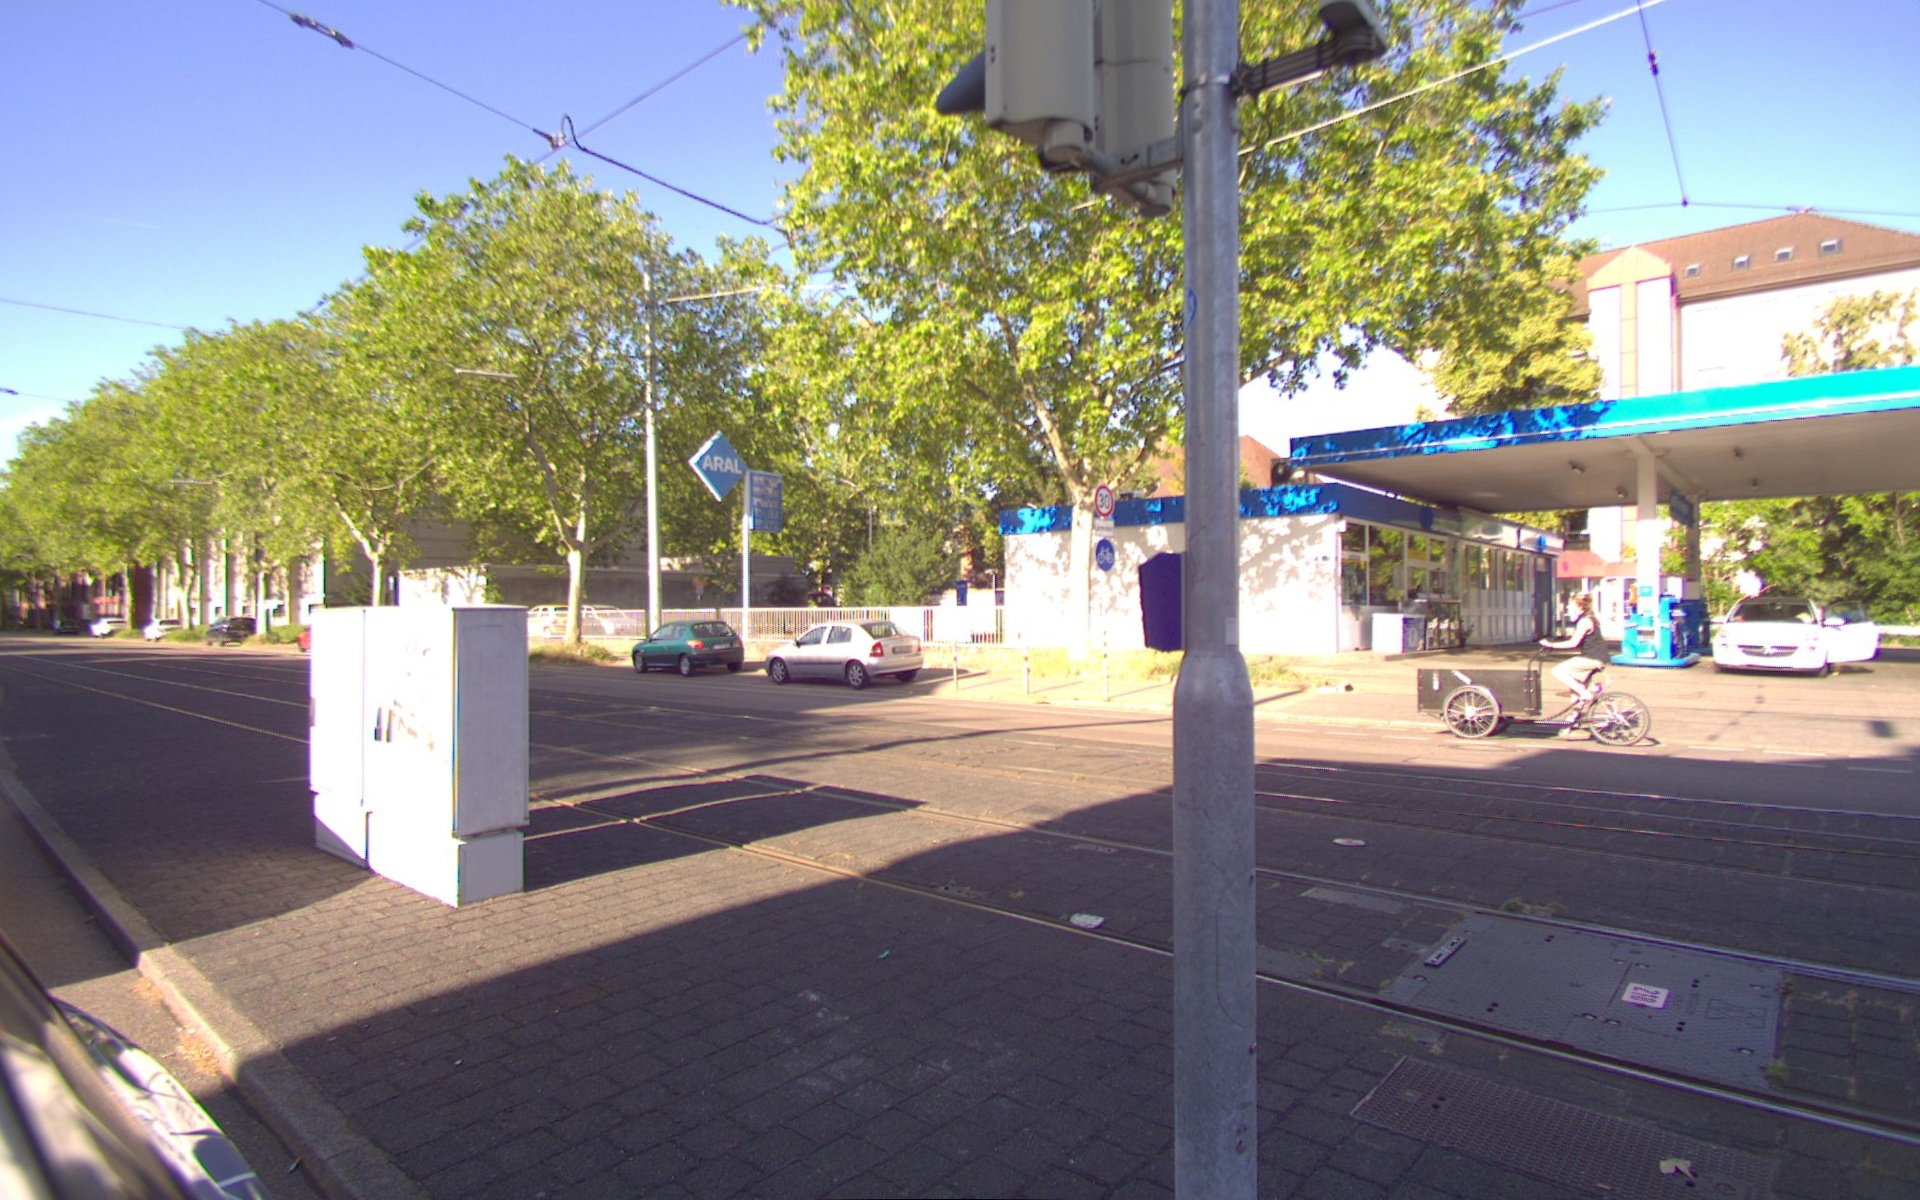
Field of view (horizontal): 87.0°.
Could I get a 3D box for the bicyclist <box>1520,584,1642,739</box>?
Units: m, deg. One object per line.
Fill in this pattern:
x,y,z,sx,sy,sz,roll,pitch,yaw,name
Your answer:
7.038,0.668,11.465,1.027,1.650,0.922,-2,-1,41,bicyclist

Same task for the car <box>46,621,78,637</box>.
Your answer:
-85.317,2.744,96.105,3.998,1.525,1.779,-1,-1,41,car

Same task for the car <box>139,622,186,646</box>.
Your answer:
-53.712,2.274,68.152,3.998,1.509,1.779,-1,-1,41,car

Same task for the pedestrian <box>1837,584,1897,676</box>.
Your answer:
17.157,0.560,19.165,0.760,1.705,0.579,-1,-2,37,pedestrian

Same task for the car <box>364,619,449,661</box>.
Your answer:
-21.932,1.556,40.042,3.652,1.541,1.802,-1,-1,41,car

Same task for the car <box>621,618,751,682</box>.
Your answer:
-7.319,1.280,26.922,3.519,1.475,1.670,-1,2,43,car

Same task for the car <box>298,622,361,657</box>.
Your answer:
-28.546,1.757,45.789,3.045,1.519,1.620,-1,-1,41,car

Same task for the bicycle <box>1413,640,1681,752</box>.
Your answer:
6.719,1.044,11.685,2.518,1.110,1.045,-1,-1,41,bicycle

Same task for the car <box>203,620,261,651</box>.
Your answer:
-40.746,1.960,56.580,3.998,1.674,1.779,-1,-1,41,car

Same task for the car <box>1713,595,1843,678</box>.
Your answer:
16.037,0.678,19.899,1.812,1.453,3.947,-1,-1,39,car

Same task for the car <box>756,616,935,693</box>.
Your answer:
-2.620,1.161,22.653,3.965,1.475,1.771,-1,2,43,car

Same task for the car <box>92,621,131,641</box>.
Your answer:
-66.676,2.412,79.518,3.998,1.525,1.779,-1,-1,41,car
